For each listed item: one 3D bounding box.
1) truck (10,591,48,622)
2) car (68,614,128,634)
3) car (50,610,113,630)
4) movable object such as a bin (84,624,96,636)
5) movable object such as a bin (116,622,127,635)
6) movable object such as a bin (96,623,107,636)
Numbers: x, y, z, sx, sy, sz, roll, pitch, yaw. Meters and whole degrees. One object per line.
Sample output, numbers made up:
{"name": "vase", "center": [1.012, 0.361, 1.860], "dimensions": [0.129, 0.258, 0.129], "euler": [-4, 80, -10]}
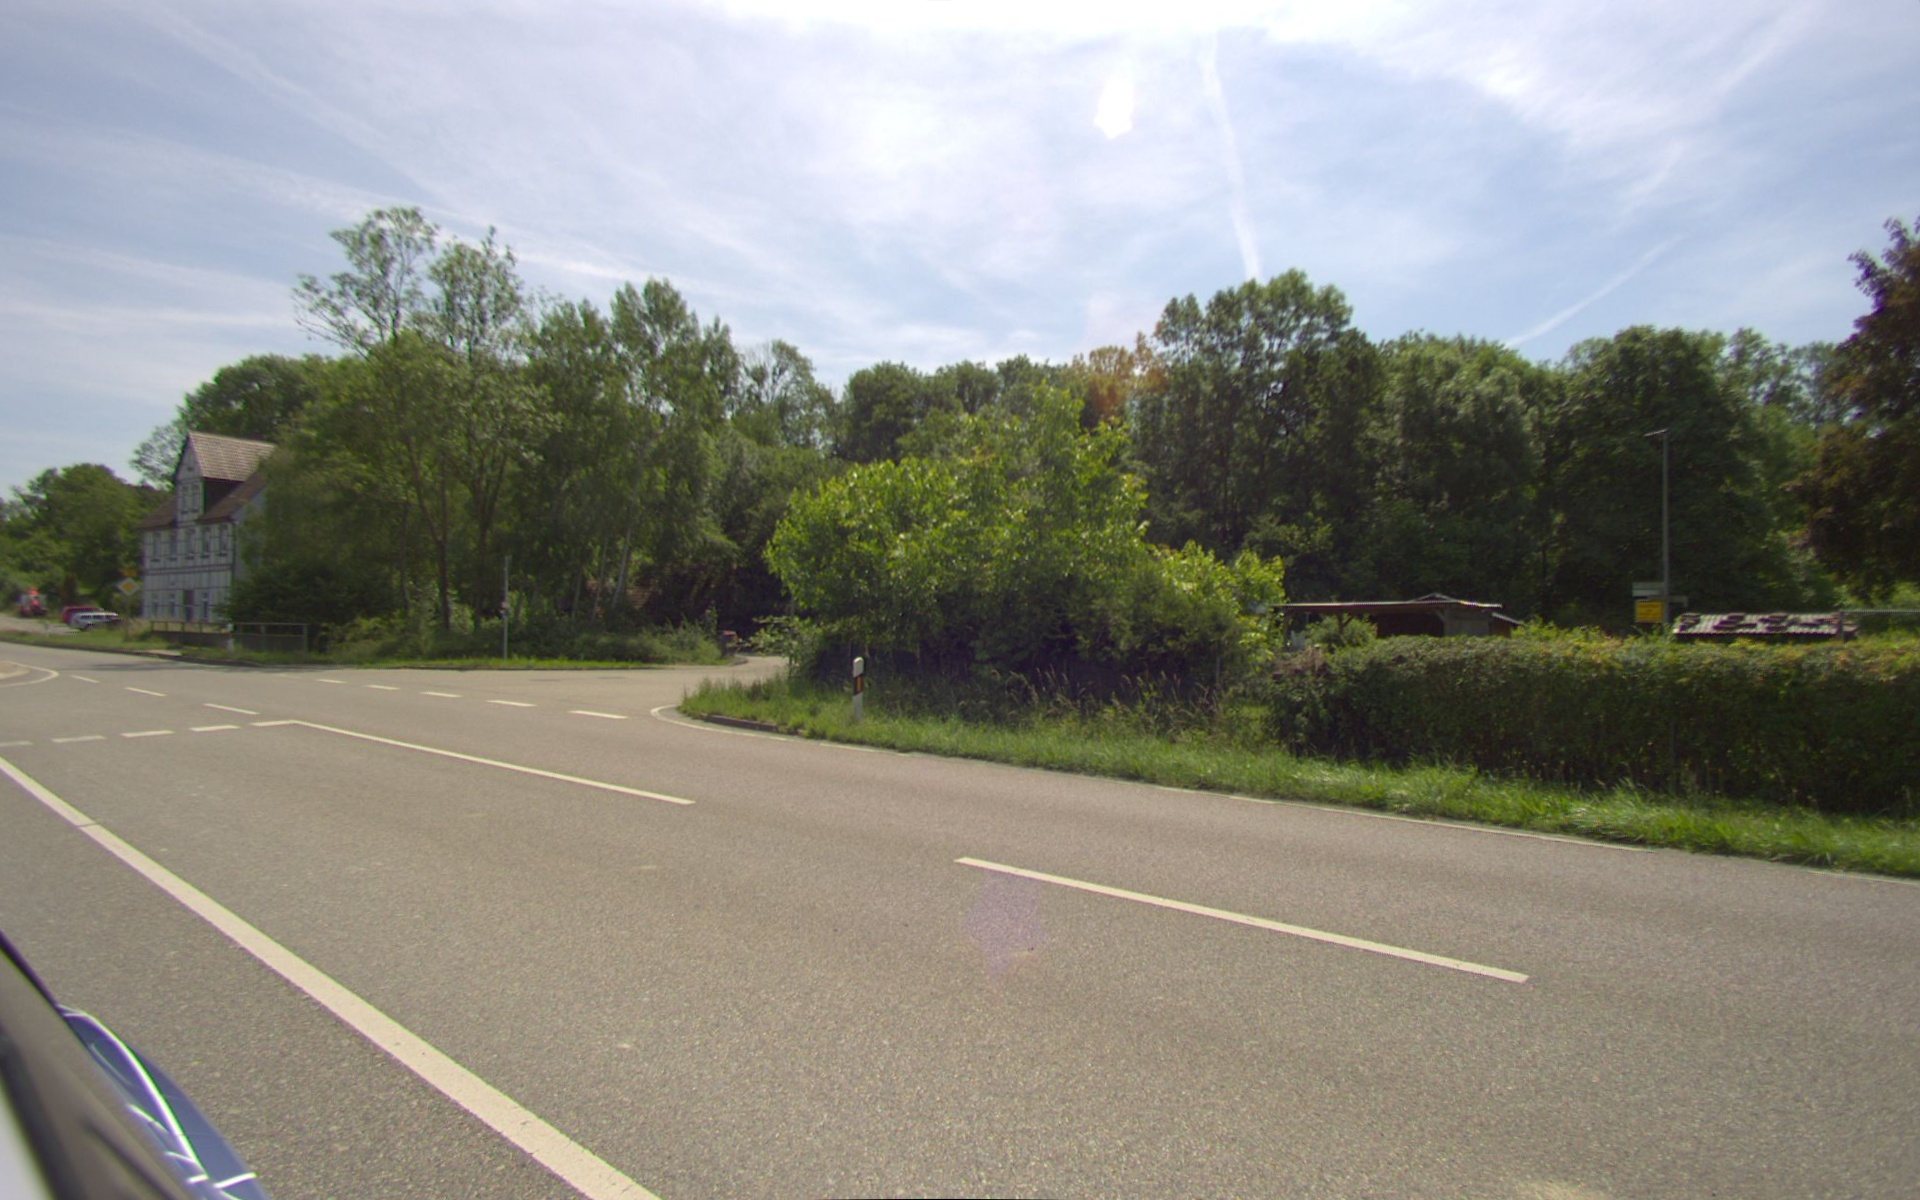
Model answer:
{"name": "truck", "center": [-93.268, 0.586, 101.388], "dimensions": [6.769, 2.986, 2.006], "euler": [1, 1, 41]}
{"name": "car", "center": [-69.356, 1.916, 81.462], "dimensions": [1.606, 1.476, 3.349], "euler": [0, 0, 33]}
{"name": "car", "center": [-76.791, 1.705, 88.491], "dimensions": [1.832, 1.631, 3.986], "euler": [1, 0, 40]}
{"name": "movable object such as a bin", "center": [-67.933, 2.339, 79.039], "dimensions": [0.652, 0.943, 0.499], "euler": [1, 1, 32]}
{"name": "movable object such as a bin", "center": [-66.845, 2.272, 80.657], "dimensions": [0.652, 0.983, 0.499], "euler": [1, 1, 32]}
{"name": "movable object such as a bin", "center": [-67.519, 2.301, 79.565], "dimensions": [0.652, 0.977, 0.499], "euler": [1, 1, 32]}
